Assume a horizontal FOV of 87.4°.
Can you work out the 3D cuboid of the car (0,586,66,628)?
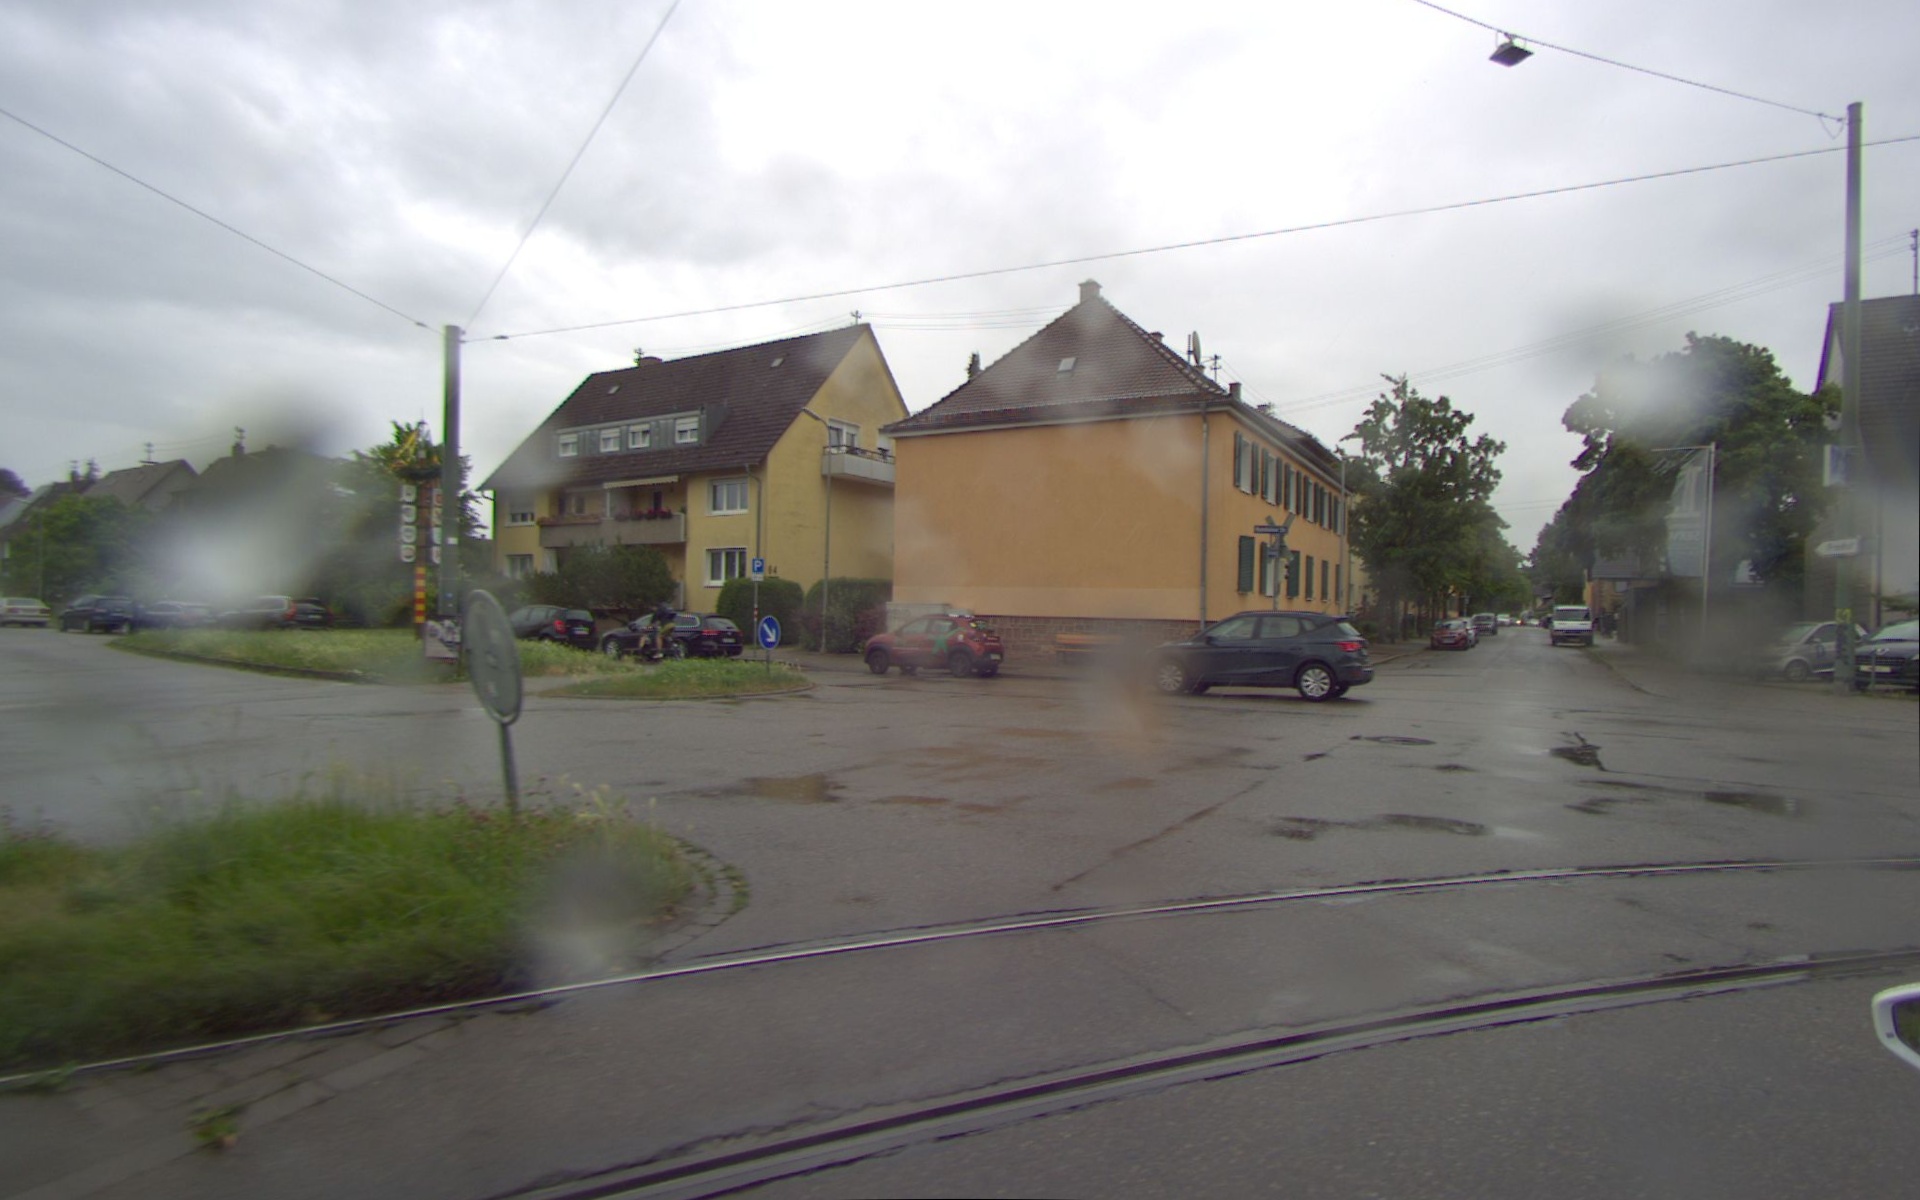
[{"bbox_3d":[-45.671,0.333,48.967,3.929,1.818,1.996,3,1,31],"label":"car"}]

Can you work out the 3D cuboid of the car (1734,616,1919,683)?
[{"bbox_3d":[22.215,1.211,25.399,3.793,1.599,1.809,0,-1,13],"label":"car"}]

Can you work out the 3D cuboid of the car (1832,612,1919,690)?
[{"bbox_3d":[21.189,1.086,21.999,3.819,1.599,1.796,1,-1,-25],"label":"car"}]

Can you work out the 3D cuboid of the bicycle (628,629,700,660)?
[{"bbox_3d":[-8.124,1.195,27.542,1.788,0.797,0.940,0,-1,31],"label":"bicycle"}]

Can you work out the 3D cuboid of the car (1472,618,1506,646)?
[{"bbox_3d":[41.399,2.479,78.612,1.965,2.040,3.991,3,1,32],"label":"car"}]

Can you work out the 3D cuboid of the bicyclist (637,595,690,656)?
[{"bbox_3d":[-8.136,0.697,27.544,1.024,1.619,0.948,0,-1,31],"label":"bicyclist"}]

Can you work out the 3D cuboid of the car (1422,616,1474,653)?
[{"bbox_3d":[23.623,1.657,48.540,1.964,1.639,3.993,1,-1,30],"label":"car"}]

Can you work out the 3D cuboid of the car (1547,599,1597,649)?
[{"bbox_3d":[34.035,1.310,55.972,2.121,2.607,4.126,3,1,30],"label":"car"}]

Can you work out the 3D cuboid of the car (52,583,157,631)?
[{"bbox_3d":[-36.772,0.279,43.172,3.925,1.818,1.998,3,1,26],"label":"car"}]

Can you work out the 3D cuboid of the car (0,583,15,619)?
[{"bbox_3d":[-51.865,-0.010,52.944,3.929,1.818,1.996,3,1,31],"label":"car"}]

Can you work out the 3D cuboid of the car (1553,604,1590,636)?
[{"bbox_3d":[41.396,1.347,67.974,1.965,2.040,3.991,3,1,32],"label":"car"}]

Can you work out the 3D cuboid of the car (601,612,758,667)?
[{"bbox_3d":[-8.309,1.133,29.684,4.425,1.414,1.963,1,0,31],"label":"car"}]

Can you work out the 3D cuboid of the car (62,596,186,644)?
[{"bbox_3d":[-27.837,0.649,33.440,3.930,1.496,1.996,0,-1,31],"label":"car"}]

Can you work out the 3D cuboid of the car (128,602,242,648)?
[{"bbox_3d":[-31.335,0.968,40.617,4.048,1.595,1.998,3,1,25],"label":"car"}]

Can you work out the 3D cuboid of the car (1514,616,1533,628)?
[{"bbox_3d":[93.775,3.649,167.271,1.797,1.720,4.033,3,1,16],"label":"car"}]

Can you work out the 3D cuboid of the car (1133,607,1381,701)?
[{"bbox_3d":[5.350,0.903,18.182,3.930,1.496,1.996,0,-1,31],"label":"car"}]

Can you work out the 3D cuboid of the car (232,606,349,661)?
[{"bbox_3d":[-25.720,1.265,38.599,3.925,1.818,1.998,3,1,26],"label":"car"}]

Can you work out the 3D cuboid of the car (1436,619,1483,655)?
[{"bbox_3d":[26.053,1.912,52.328,1.964,1.773,3.993,1,-1,30],"label":"car"}]

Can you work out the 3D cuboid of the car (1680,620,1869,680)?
[{"bbox_3d":[23.174,1.380,28.736,3.793,1.599,1.809,0,-1,13],"label":"car"}]

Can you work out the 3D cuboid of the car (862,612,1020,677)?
[{"bbox_3d":[-0.488,1.075,25.320,3.552,1.357,1.720,3,1,30],"label":"car"}]

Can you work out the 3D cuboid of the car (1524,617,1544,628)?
[{"bbox_3d":[92.383,3.631,161.712,1.797,1.720,4.033,3,1,16],"label":"car"}]

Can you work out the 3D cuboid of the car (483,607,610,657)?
[{"bbox_3d":[-13.448,1.004,32.653,3.928,1.350,1.757,3,1,30],"label":"car"}]
